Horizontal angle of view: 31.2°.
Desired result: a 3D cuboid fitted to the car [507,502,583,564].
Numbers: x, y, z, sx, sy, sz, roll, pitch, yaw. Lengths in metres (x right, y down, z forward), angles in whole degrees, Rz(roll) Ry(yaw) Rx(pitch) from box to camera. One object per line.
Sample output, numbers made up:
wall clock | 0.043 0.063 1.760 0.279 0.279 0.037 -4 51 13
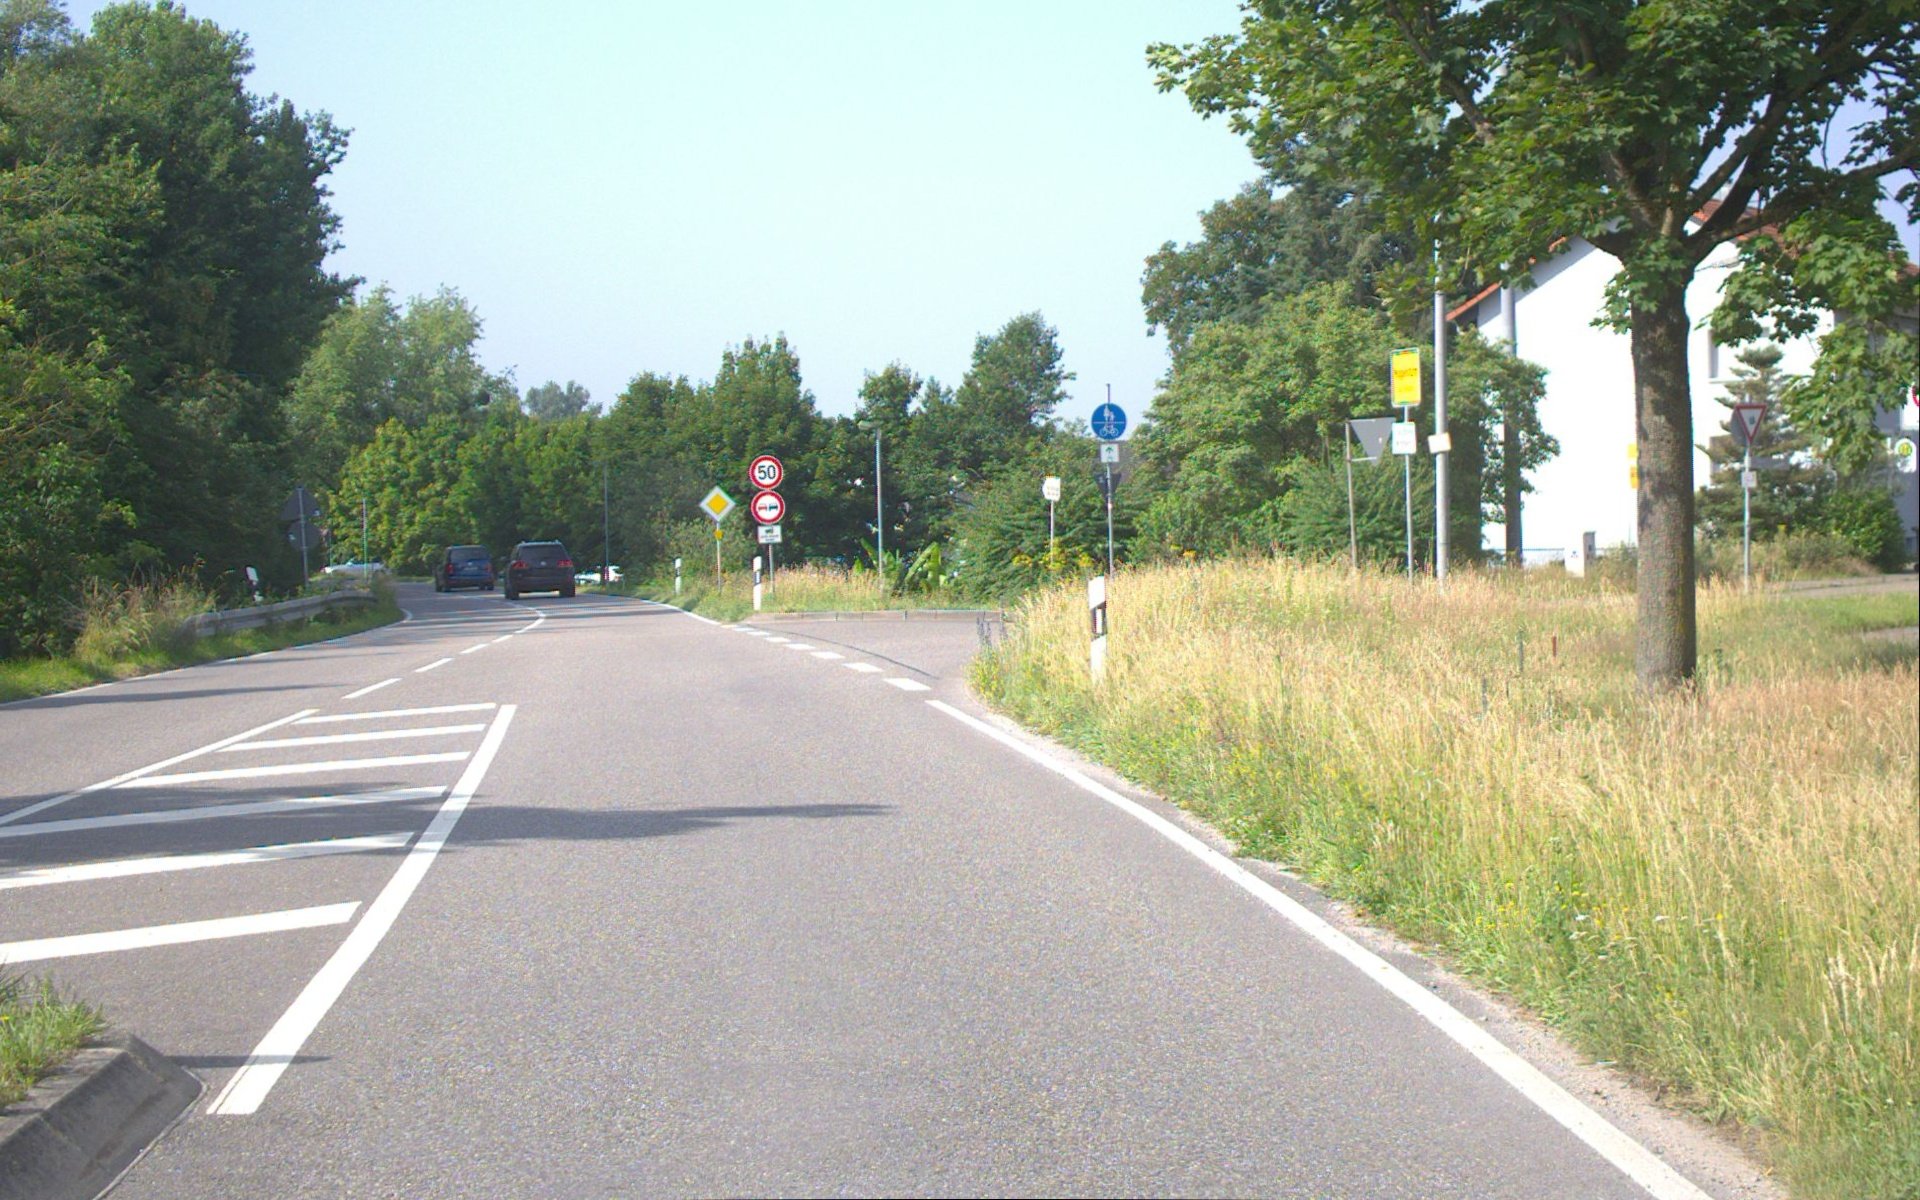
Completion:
car | -12.429 -2.010 102.810 1.925 1.765 4.001 -1 2 -12

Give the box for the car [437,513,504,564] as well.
car | -17.610 -2.227 123.567 2.003 1.765 4.002 -1 2 -13
